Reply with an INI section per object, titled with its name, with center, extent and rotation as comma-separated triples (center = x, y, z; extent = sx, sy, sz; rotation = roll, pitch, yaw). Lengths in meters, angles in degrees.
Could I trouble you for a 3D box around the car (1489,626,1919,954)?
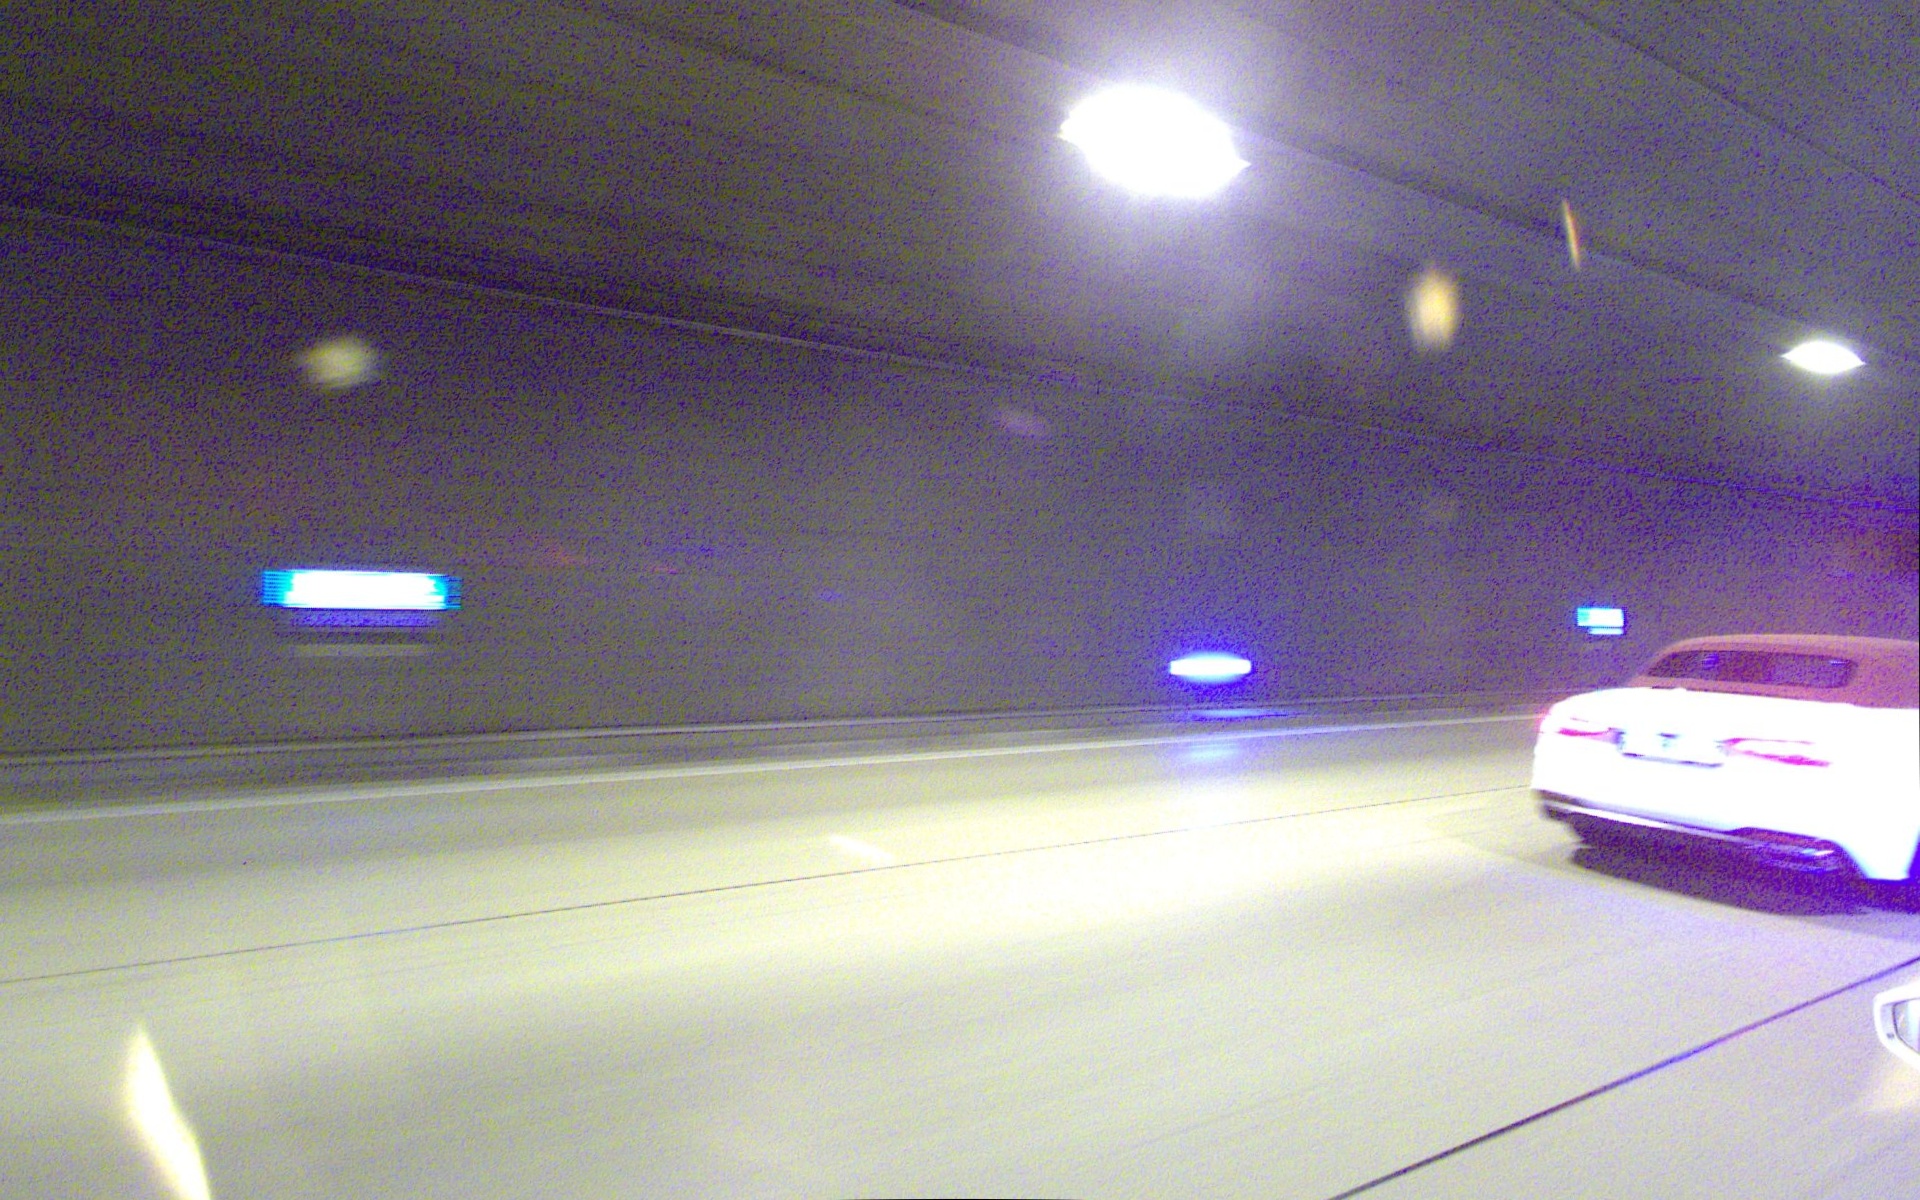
[car]
center = 5.714, 0.907, 6.464
extent = 5.000, 1.438, 1.694
rotation = 1, -1, -30
